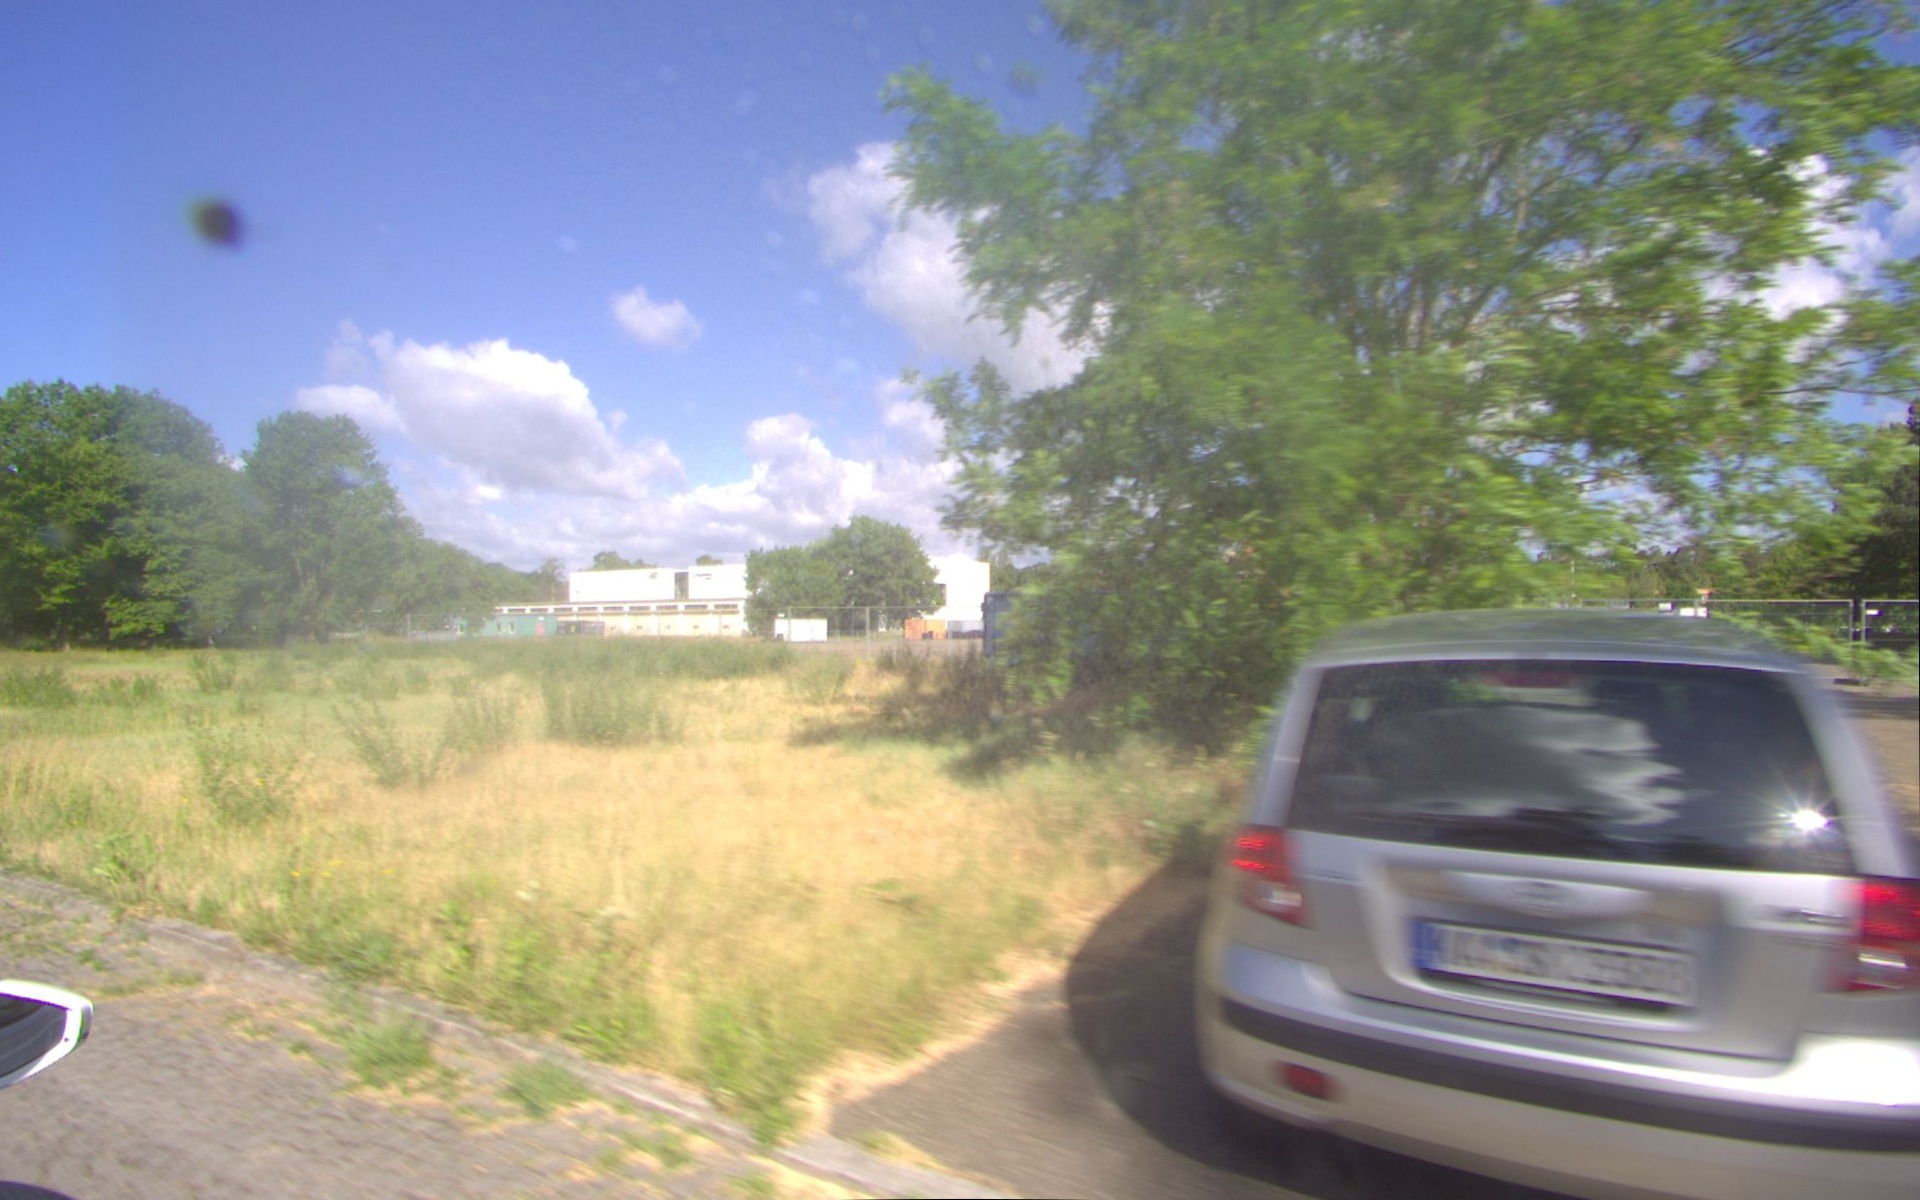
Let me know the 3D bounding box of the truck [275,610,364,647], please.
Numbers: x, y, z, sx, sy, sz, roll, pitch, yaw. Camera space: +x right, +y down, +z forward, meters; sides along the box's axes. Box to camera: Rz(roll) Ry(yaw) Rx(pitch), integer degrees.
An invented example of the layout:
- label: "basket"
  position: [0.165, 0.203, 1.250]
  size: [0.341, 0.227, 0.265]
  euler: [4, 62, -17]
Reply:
- label: "truck"
  position: [-43.572, 1.952, 68.066]
  size: [6.783, 2.454, 2.231]
  euler: [-1, -3, 30]

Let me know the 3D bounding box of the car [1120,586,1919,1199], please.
- label: "car"
  position: [2.051, 0.743, 3.687]
  size: [1.725, 1.496, 3.735]
  euler: [-1, 1, 29]
